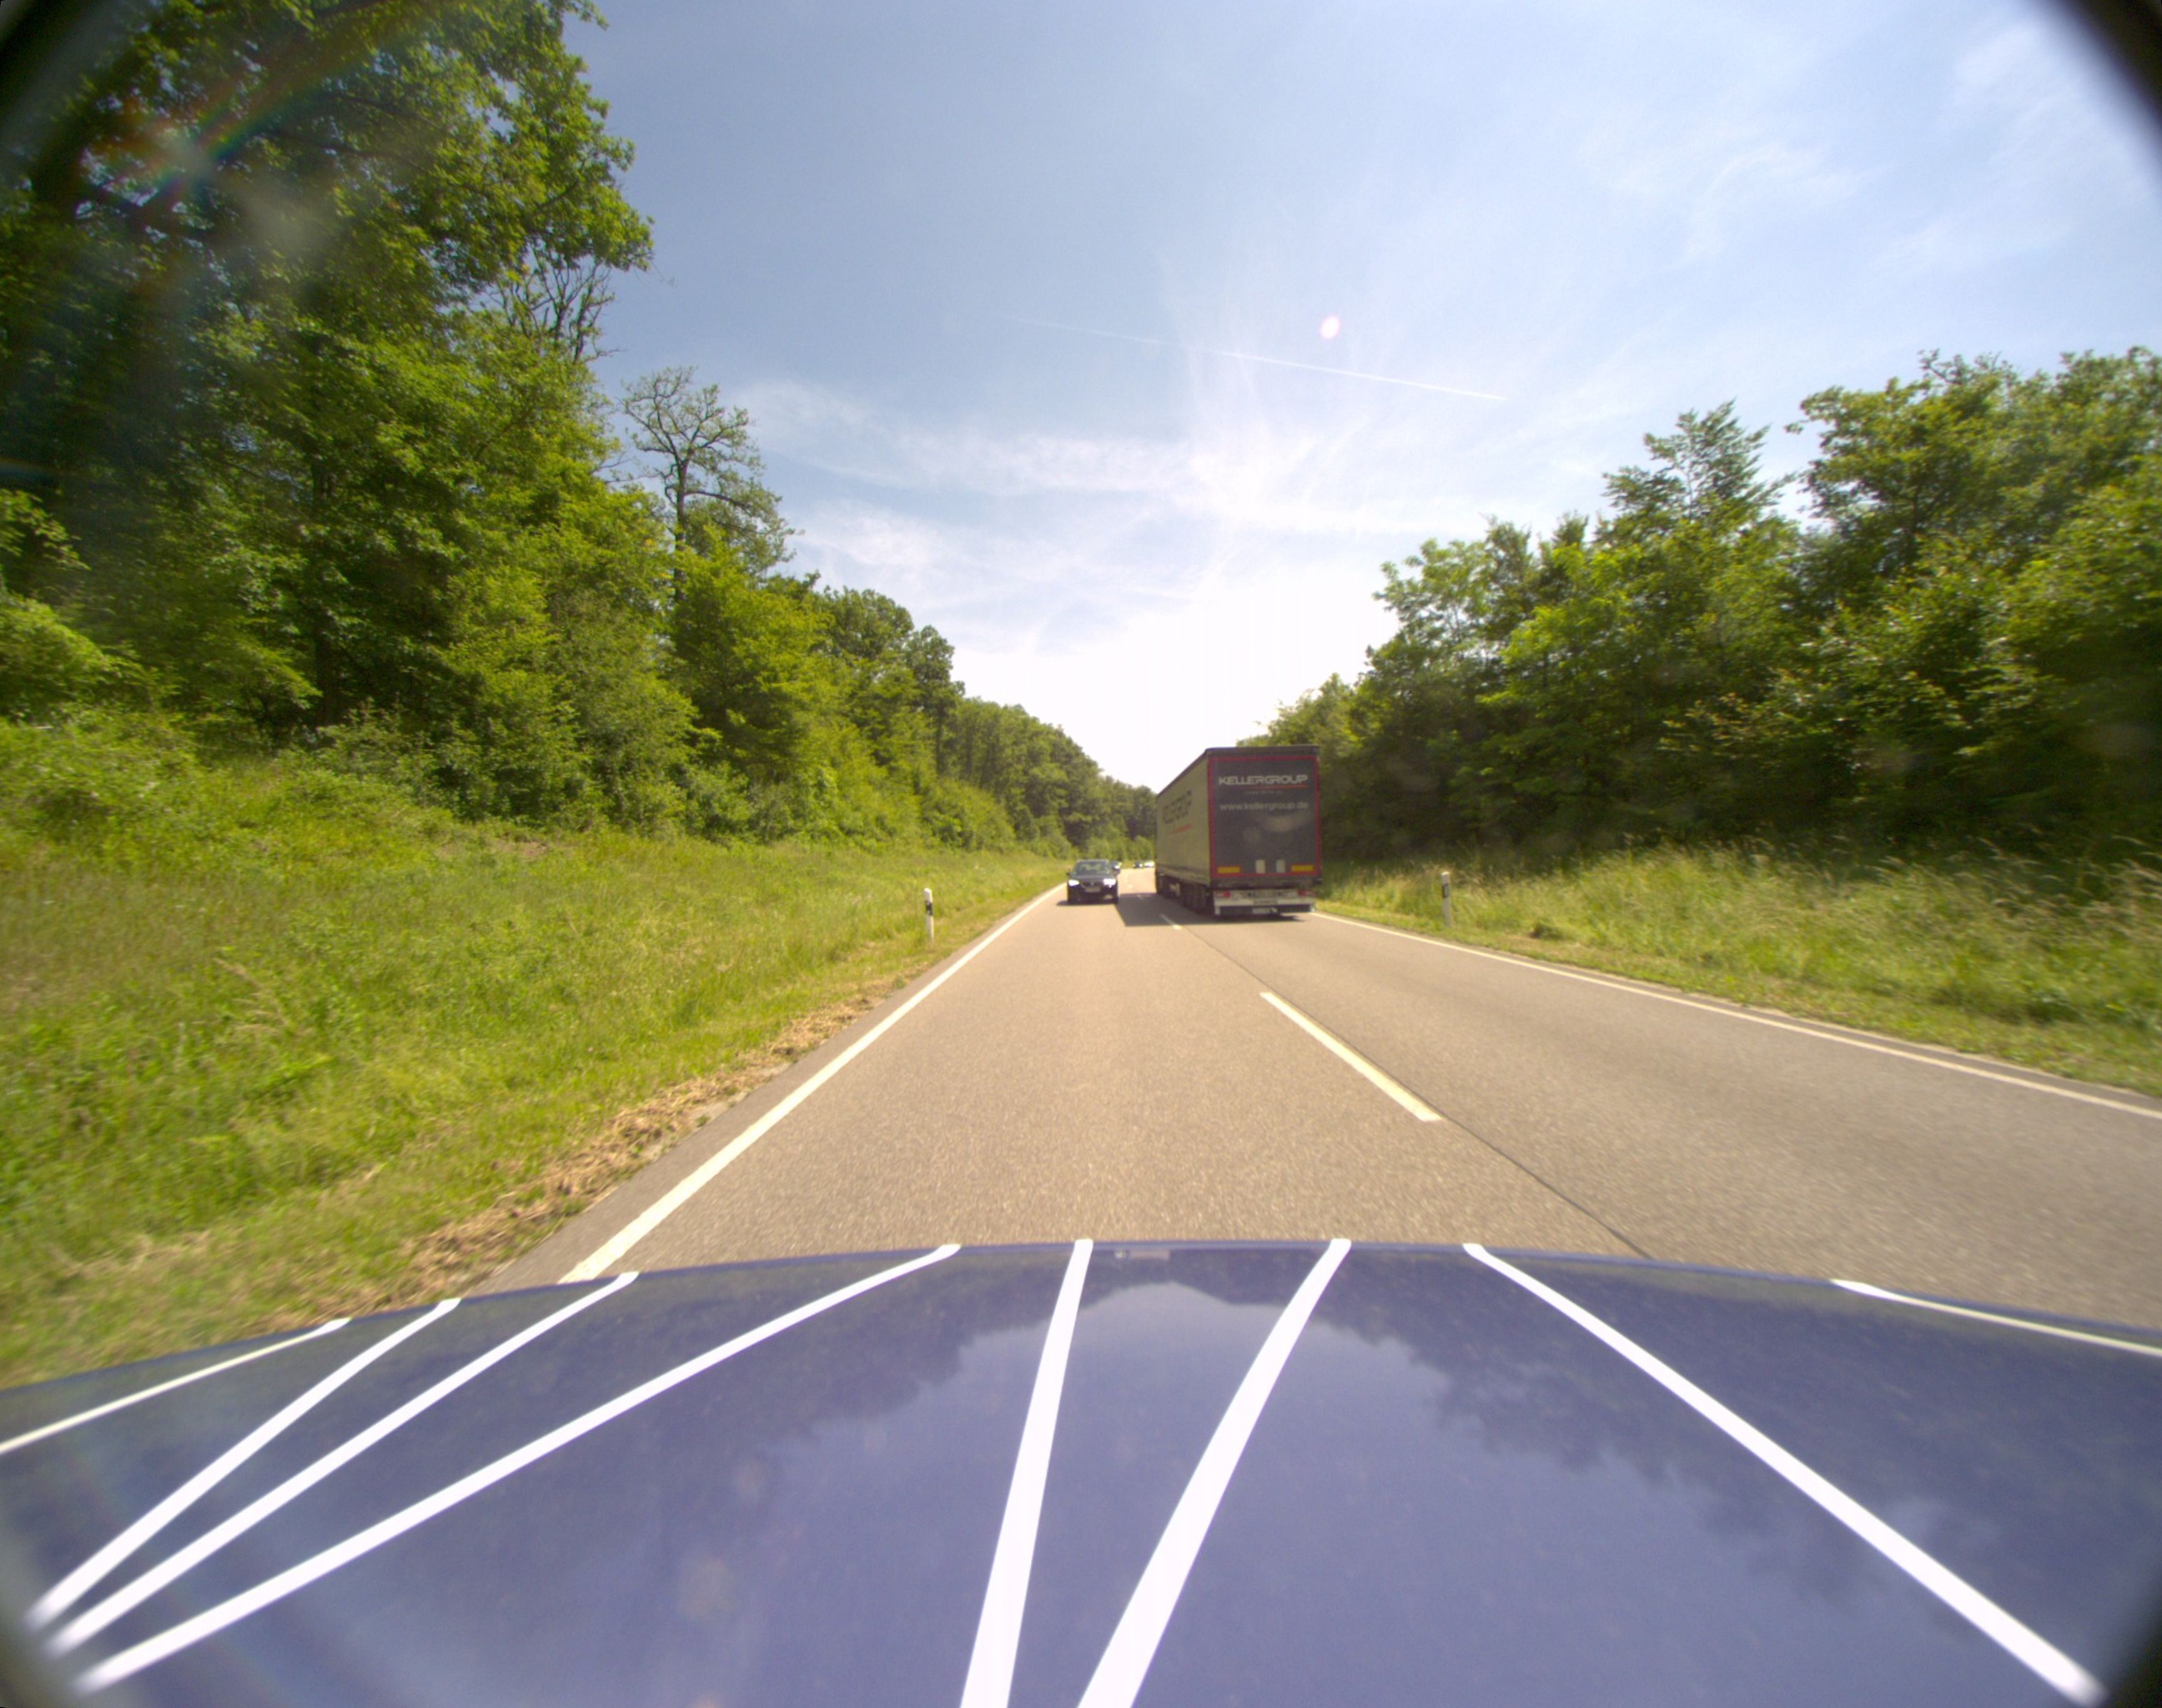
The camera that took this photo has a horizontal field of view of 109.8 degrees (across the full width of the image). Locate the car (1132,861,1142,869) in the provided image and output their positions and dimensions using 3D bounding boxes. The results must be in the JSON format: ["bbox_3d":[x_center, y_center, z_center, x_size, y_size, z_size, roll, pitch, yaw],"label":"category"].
[{"bbox_3d":[10.563,2.128,143.292,1.775,1.454,4.002,-1,0,7],"label":"car"}]

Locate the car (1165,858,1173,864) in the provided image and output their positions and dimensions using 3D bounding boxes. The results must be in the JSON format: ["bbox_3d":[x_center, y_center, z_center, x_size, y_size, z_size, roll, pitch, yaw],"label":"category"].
[{"bbox_3d":[23.843,1.911,205.254,1.691,1.718,4.004,-1,0,13],"label":"car"}]

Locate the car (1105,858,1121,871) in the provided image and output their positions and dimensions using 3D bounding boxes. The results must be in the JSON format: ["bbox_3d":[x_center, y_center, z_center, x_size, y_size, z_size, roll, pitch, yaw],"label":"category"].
[{"bbox_3d":[3.971,1.267,93.388,1.775,1.454,3.950,-1,0,5],"label":"car"}]

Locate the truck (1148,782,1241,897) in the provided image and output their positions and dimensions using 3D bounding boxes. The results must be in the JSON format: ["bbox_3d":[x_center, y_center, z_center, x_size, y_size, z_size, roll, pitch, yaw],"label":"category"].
[{"bbox_3d":[4.448,-0.537,30.853,2.929,4.191,5.343,-1,0,1],"label":"truck"}]

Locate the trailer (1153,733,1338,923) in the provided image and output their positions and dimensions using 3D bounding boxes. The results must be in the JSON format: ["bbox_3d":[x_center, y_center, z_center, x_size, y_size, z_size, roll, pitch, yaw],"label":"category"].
[{"bbox_3d":[4.356,-0.564,23.924,2.949,4.227,13.620,-1,0,1],"label":"trailer"}]

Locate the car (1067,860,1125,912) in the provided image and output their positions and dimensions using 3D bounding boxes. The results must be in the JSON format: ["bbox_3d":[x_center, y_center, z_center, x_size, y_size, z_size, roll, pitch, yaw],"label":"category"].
[{"bbox_3d":[0.552,0.996,25.244,1.713,1.516,4.243,-2,0,3],"label":"car"}]

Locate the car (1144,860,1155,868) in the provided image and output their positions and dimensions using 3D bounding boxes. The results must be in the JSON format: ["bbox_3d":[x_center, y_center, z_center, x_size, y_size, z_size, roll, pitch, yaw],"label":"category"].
[{"bbox_3d":[15.371,2.181,169.516,2.017,1.737,4.385,-1,0,11],"label":"car"}]
